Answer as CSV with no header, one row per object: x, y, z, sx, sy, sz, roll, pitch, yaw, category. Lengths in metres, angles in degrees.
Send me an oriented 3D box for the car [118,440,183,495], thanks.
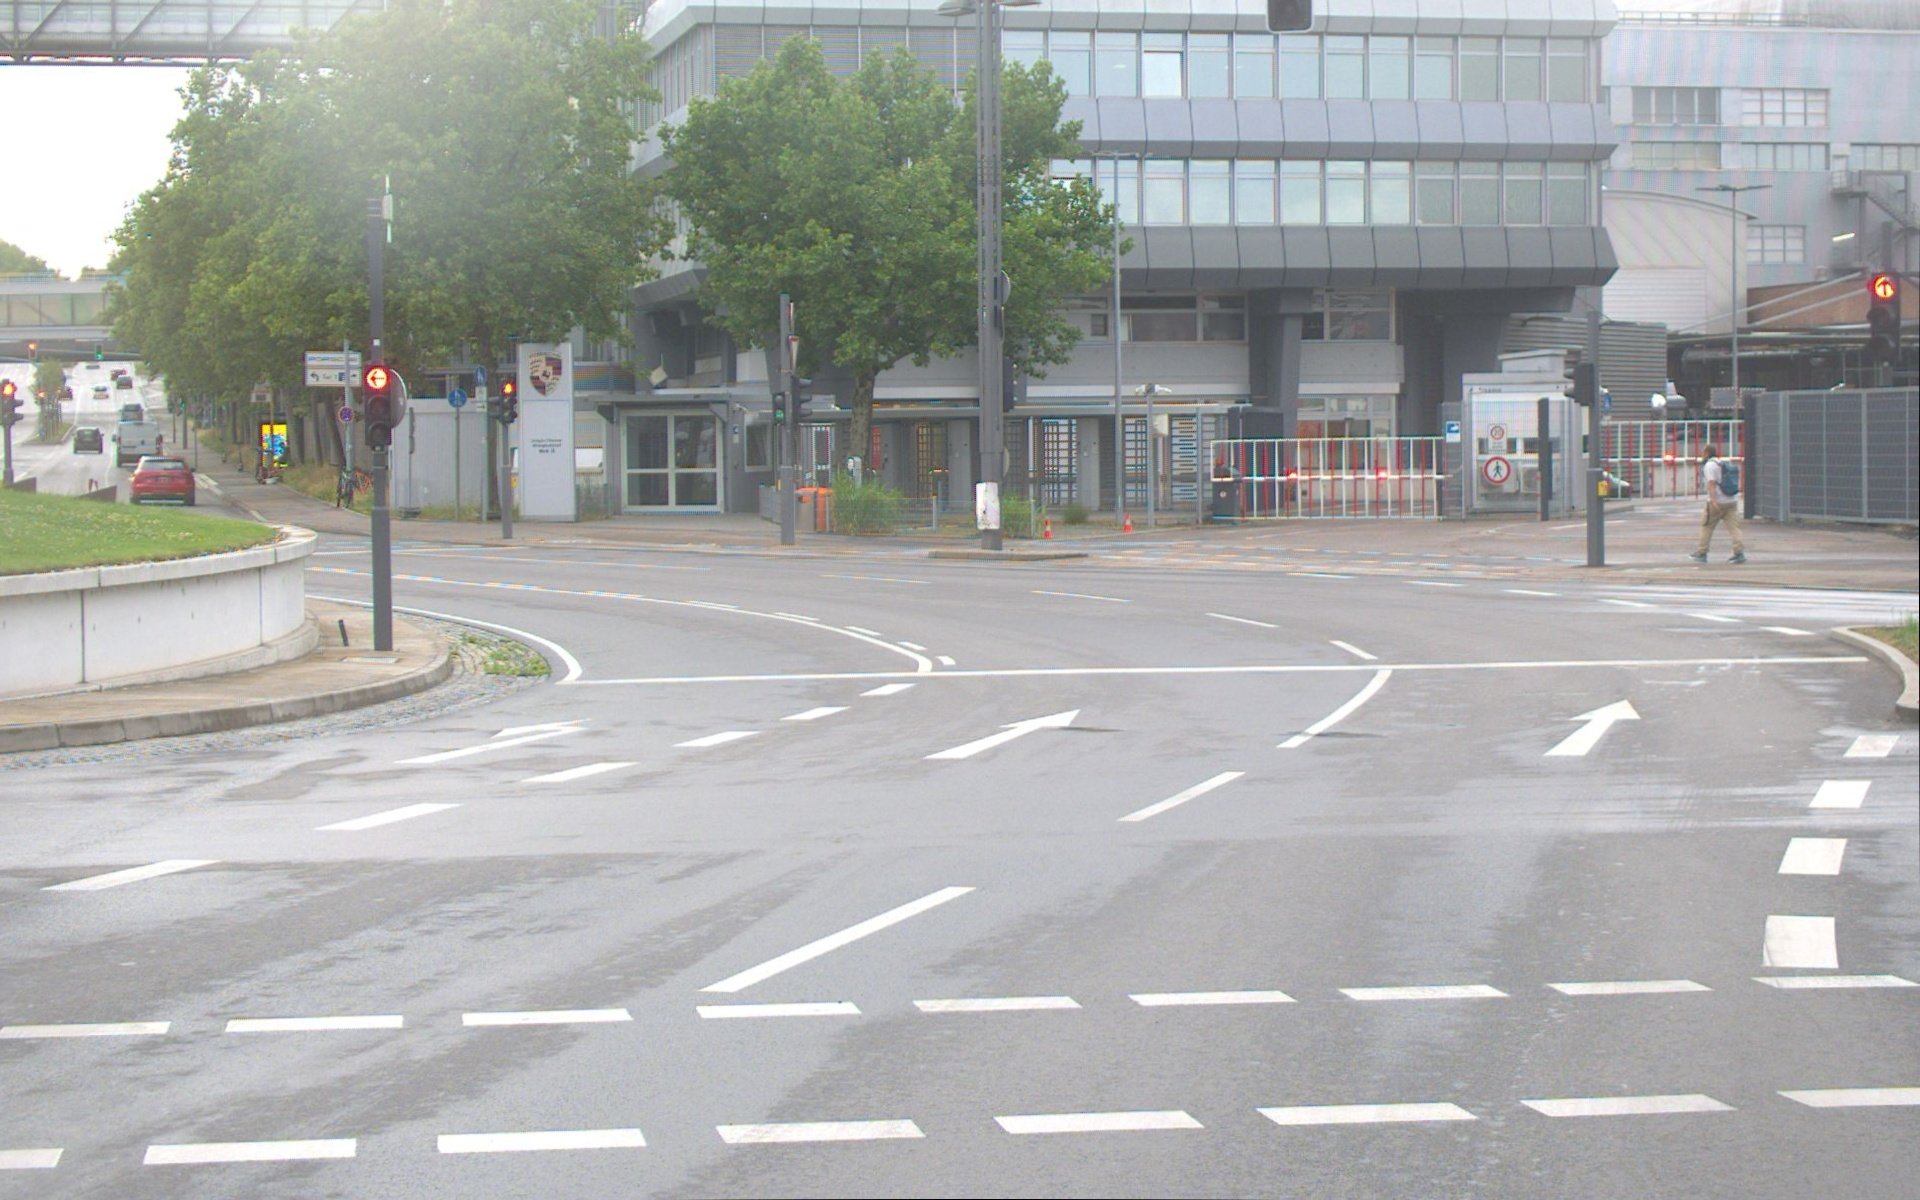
-23.173,-3.790,98.407,1.772,1.459,3.734,-1,0,-13,car

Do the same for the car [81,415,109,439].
-51.284,-10.255,203.824,1.556,1.284,3.415,-1,0,-15,car

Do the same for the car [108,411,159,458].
-40.828,-8.173,169.830,2.232,2.100,4.956,-1,0,-16,car

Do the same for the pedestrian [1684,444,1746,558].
10.864,-1.413,49.444,0.808,1.605,0.769,-1,0,17,pedestrian
